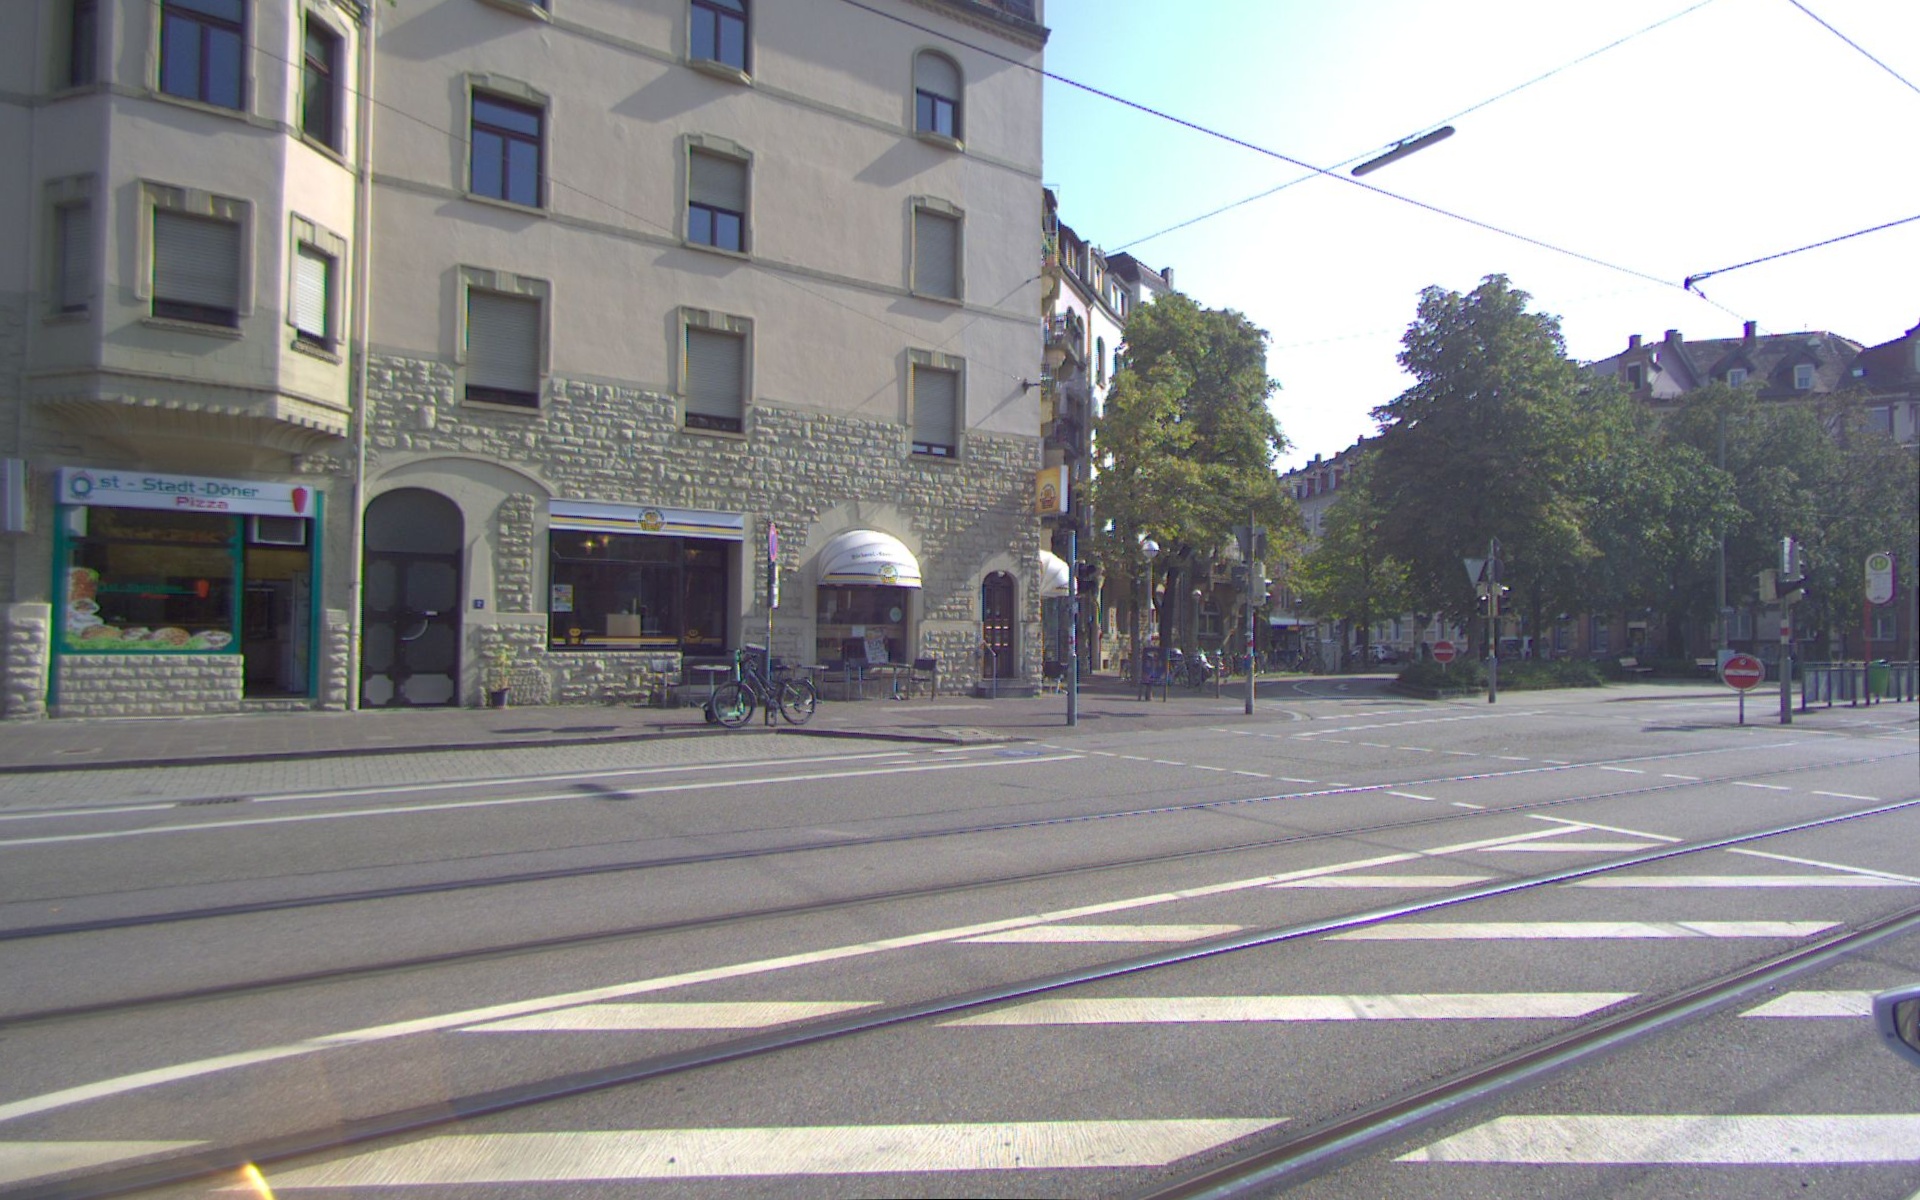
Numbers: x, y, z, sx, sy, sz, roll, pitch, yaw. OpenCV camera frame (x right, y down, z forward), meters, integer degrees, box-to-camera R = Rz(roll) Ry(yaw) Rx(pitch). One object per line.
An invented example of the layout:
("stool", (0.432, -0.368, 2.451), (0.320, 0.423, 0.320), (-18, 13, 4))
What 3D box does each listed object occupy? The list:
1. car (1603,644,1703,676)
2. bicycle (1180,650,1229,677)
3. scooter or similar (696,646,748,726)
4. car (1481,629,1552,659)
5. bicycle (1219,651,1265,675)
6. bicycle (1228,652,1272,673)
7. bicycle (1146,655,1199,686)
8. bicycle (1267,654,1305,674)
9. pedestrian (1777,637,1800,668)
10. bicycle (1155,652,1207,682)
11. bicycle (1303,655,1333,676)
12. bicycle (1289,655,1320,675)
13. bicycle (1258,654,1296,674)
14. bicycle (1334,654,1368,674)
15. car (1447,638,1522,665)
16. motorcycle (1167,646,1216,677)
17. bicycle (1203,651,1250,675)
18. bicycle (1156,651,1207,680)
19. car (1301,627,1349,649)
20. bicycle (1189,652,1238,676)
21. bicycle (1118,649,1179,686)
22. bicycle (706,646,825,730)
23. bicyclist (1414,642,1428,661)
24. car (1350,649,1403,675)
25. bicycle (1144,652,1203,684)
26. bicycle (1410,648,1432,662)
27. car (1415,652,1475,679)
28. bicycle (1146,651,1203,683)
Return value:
("car", (36.989, 3.191, 53.743), (4.261, 1.589, 1.995), (-1, -3, 32))
("bicycle", (10.124, 2.621, 41.601), (1.843, 1.041, 0.663), (0, -2, 26))
("scooter or similar", (-3.764, 1.344, 15.964), (0.359, 1.213, 1.035), (0, -2, 13))
("car", (35.764, 2.822, 64.715), (1.964, 1.852, 3.995), (1, -2, -9))
("bicycle", (12.630, 2.801, 44.961), (1.865, 0.993, 0.685), (0, -2, 26))
("bicycle", (13.373, 2.875, 46.336), (1.851, 0.947, 0.635), (-1, -3, 42))
("bicycle", (6.727, 2.226, 31.832), (1.577, 0.932, 0.479), (1, -2, 0))
("bicycle", (16.430, 3.211, 50.660), (1.742, 0.990, 0.603), (-1, -3, 37))
("pedestrian", (46.665, 2.962, 56.570), (0.756, 1.753, 0.752), (0, -2, 21))
("bicycle", (7.931, 2.404, 36.070), (1.769, 0.997, 0.570), (0, -2, 19))
("bicycle", (17.664, 3.211, 49.538), (1.750, 0.990, 0.422), (2, -2, -32))
("bicycle", (16.987, 3.198, 49.556), (1.750, 0.990, 0.422), (2, -2, -32))
("bicycle", (15.840, 3.192, 50.144), (1.742, 0.990, 0.518), (-2, -3, 38))
("bicycle", (20.142, 3.315, 51.810), (0.596, 0.990, 1.761), (1, -2, -23))
("car", (32.959, 3.217, 63.266), (1.964, 1.589, 4.331), (1, -2, -9))
("motorcycle", (9.390, 2.484, 40.793), (1.840, 1.169, 0.607), (0, -2, 26))
("bicycle", (11.655, 2.756, 43.953), (1.865, 0.993, 0.685), (0, -2, 26))
("bicycle", (8.213, 2.429, 37.251), (1.769, 0.996, 0.660), (0, -2, 19))
("car", (32.039, 3.341, 88.312), (1.968, 1.852, 3.986), (1, -2, -17))
("bicycle", (10.773, 2.722, 42.700), (1.876, 0.947, 0.737), (0, -2, 26))
("bicycle", (6.101, 2.186, 32.491), (1.844, 1.127, 0.569), (2, -2, -10))
("bicycle", (-3.026, 1.348, 15.743), (1.842, 1.242, 0.449), (2, -3, -41))
("bicyclist", (32.893, 3.663, 71.620), (0.538, 1.345, 0.821), (0, -2, -7))
("car", (31.348, 4.688, 75.735), (1.964, 1.852, 3.995), (1, -2, -9))
("bicycle", (7.068, 2.243, 33.273), (1.840, 1.016, 0.570), (1, -2, 6))
("bicycle", (32.893, 3.950, 71.658), (0.538, 0.970, 1.855), (0, -2, -6))
("car", (34.776, 4.673, 72.100), (1.964, 1.852, 3.995), (1, -2, -9))
("bicycle", (7.406, 2.296, 34.731), (1.841, 1.047, 0.570), (0, -2, 21))
